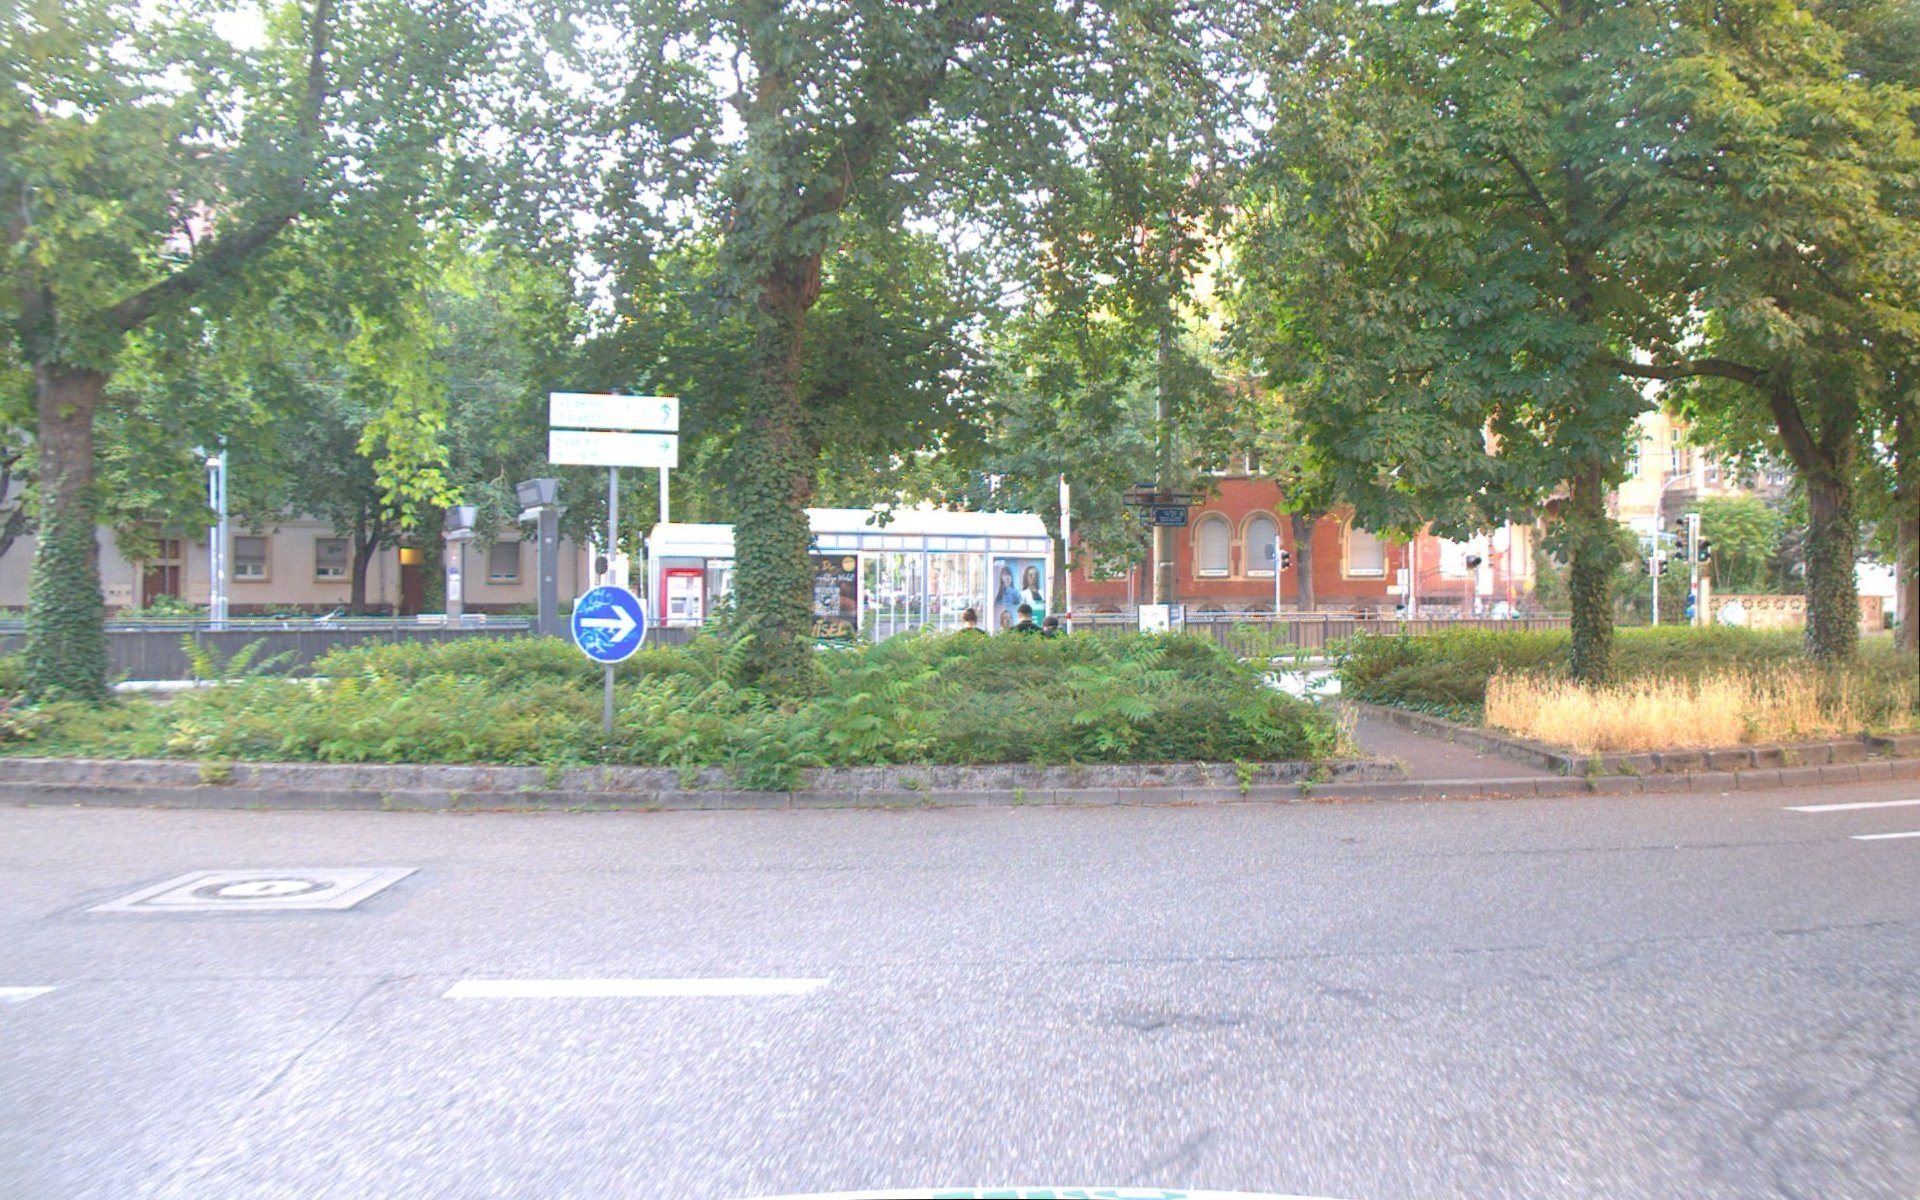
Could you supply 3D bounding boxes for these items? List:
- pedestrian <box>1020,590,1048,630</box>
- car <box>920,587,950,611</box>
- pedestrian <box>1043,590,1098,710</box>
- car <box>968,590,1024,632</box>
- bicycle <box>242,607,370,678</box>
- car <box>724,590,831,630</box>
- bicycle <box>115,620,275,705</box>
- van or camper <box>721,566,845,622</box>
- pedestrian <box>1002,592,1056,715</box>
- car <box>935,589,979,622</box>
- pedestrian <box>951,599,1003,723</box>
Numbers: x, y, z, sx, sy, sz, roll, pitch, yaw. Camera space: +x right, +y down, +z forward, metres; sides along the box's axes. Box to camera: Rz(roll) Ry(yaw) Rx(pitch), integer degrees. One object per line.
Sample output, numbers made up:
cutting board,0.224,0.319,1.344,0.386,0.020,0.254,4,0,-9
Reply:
pedestrian,2.891,0.376,64.353,0.849,1.552,0.713,0,0,34
car,-1.907,-0.058,125.258,1.954,1.733,4.715,1,0,-5
pedestrian,1.362,0.608,20.430,0.604,1.456,0.655,0,0,-3
car,1.564,0.474,73.476,1.954,1.733,4.715,1,0,-5
bicycle,-10.236,0.654,25.901,1.826,1.070,0.542,0,0,-26
car,-8.487,0.452,76.748,4.857,1.733,1.996,1,0,-8
bicycle,-11.124,0.892,24.085,2.083,1.171,0.680,0,0,-27
van or camper,-10.645,-0.342,99.366,7.227,3.137,2.668,1,0,-8
pedestrian,0.834,0.633,20.035,0.604,1.456,0.655,0,0,-3
car,-0.197,0.291,89.709,1.954,1.733,4.715,1,0,-5
pedestrian,0.199,0.725,19.900,0.604,1.456,0.655,0,0,-3
